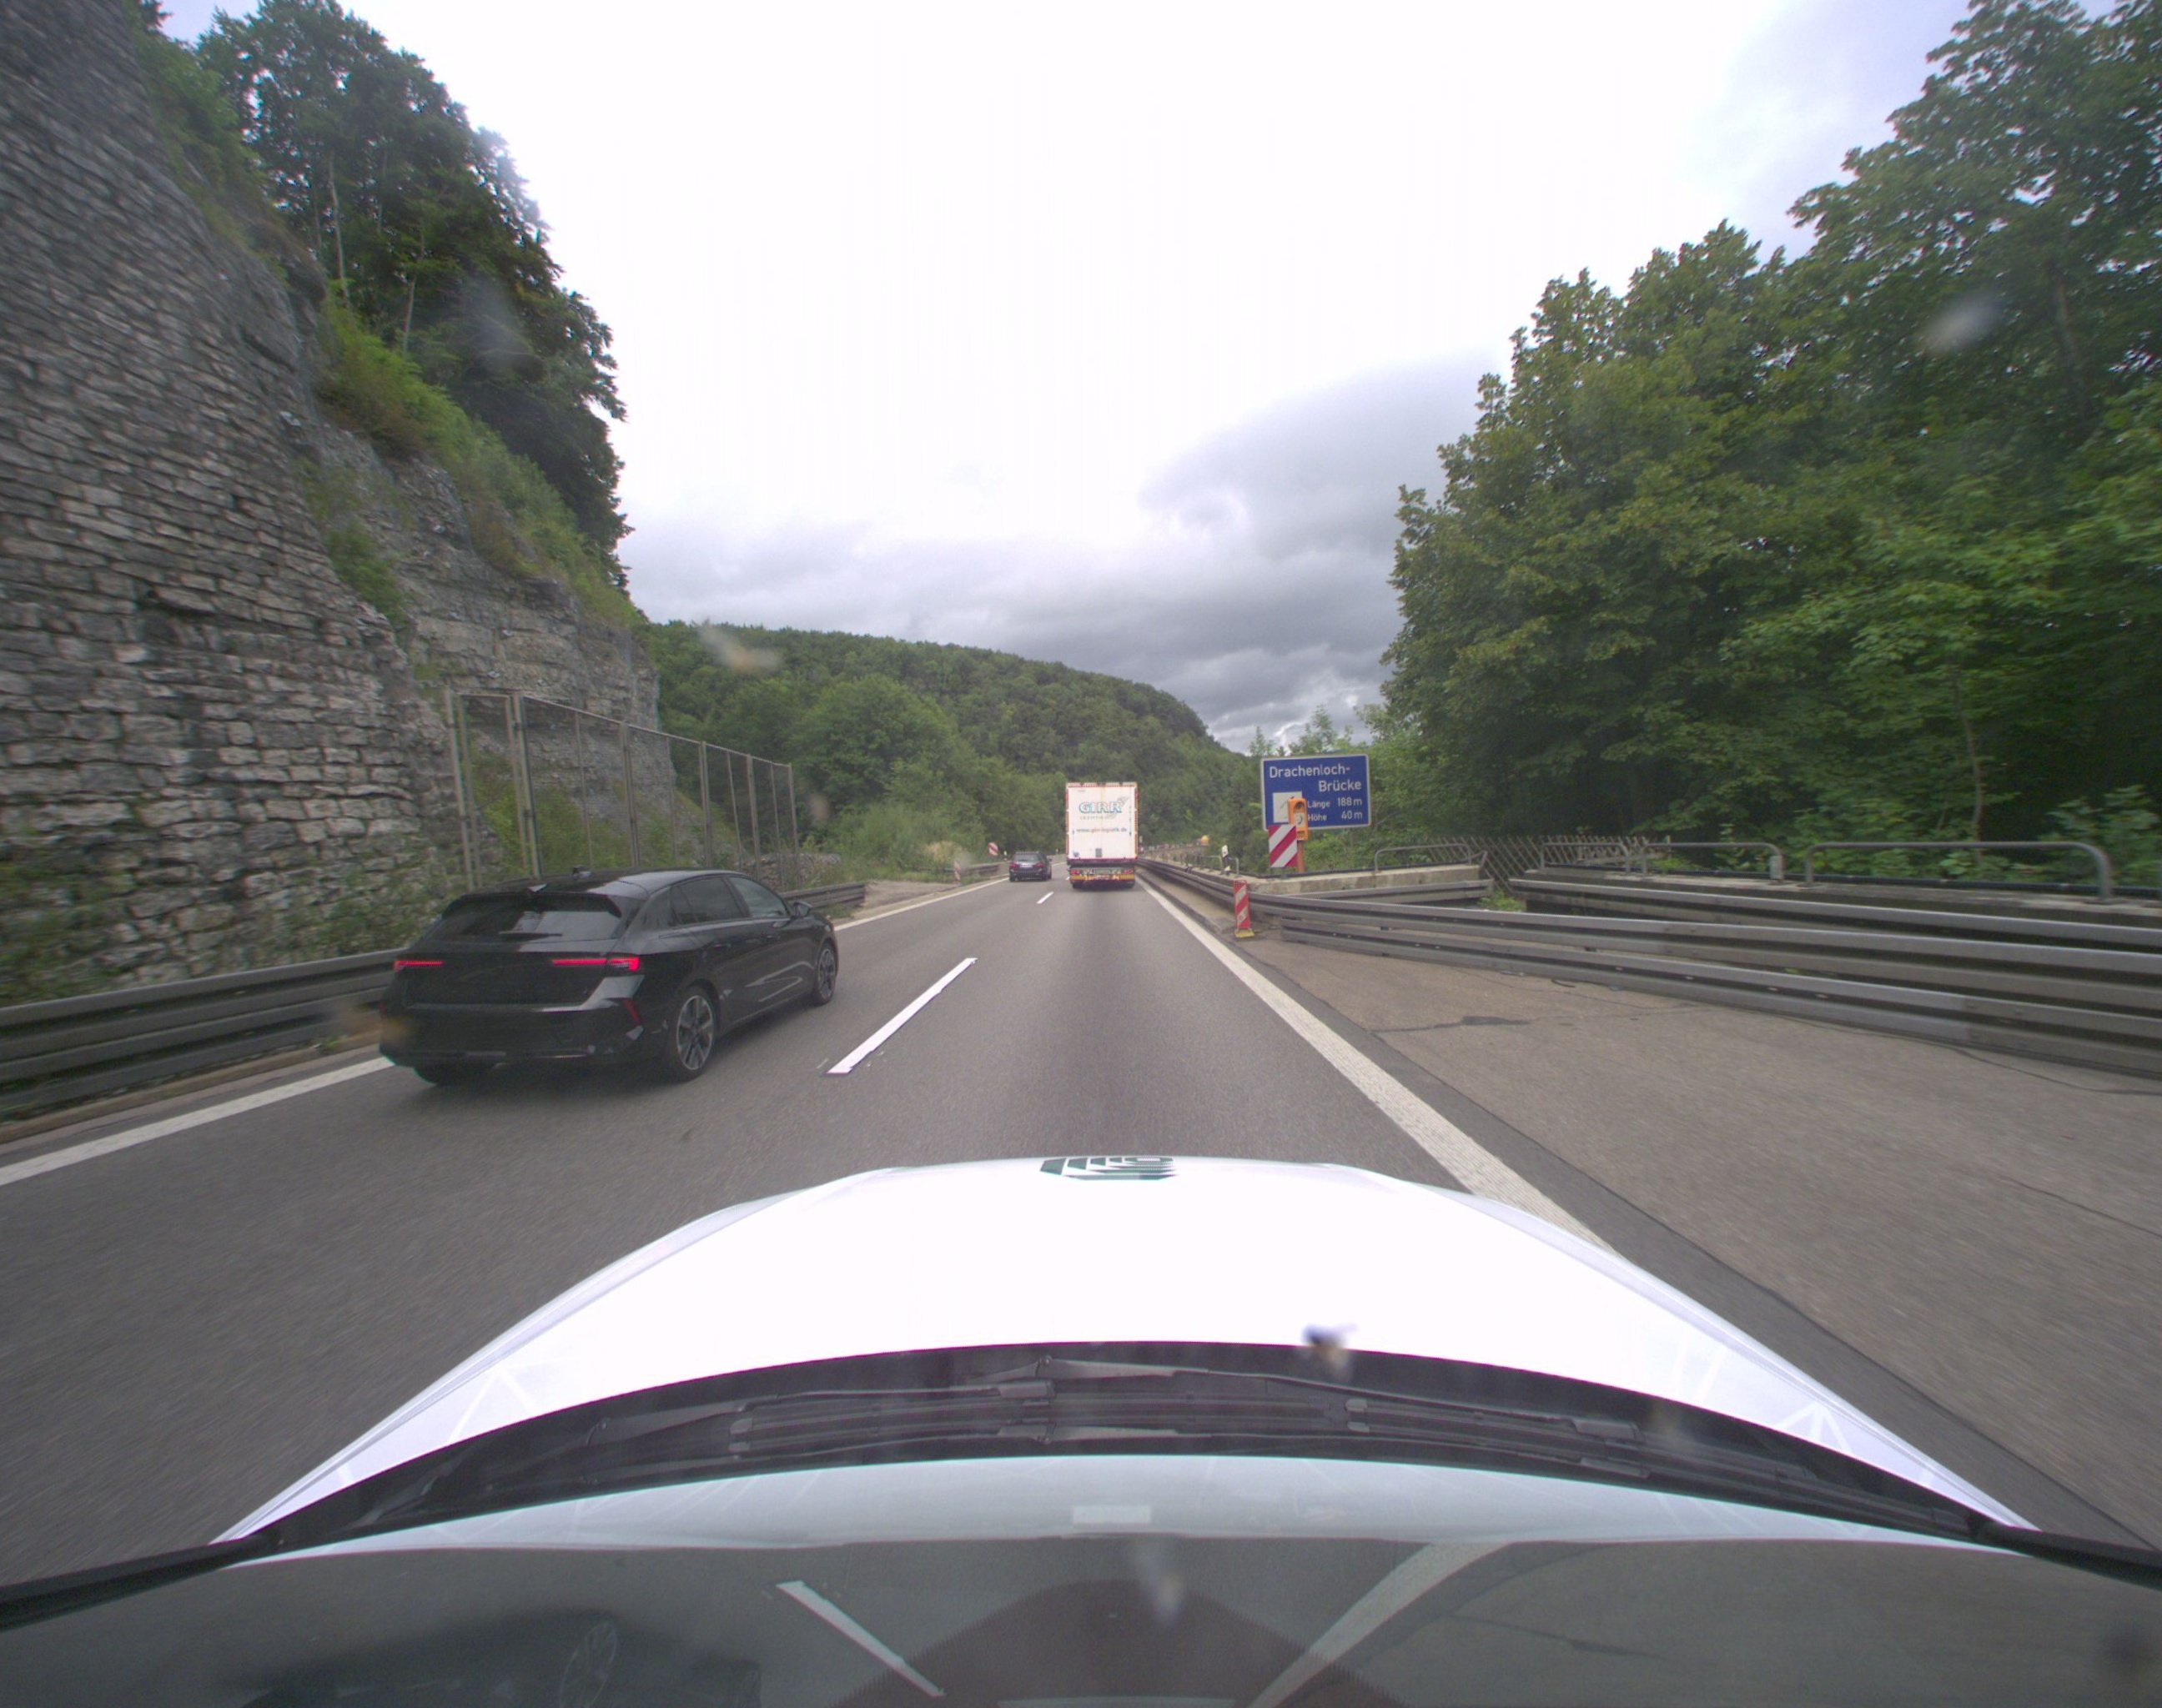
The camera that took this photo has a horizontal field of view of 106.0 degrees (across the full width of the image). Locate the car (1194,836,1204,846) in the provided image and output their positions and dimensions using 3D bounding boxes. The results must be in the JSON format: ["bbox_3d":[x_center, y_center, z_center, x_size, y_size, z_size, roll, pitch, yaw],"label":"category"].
[{"bbox_3d":[37.318,-3.986,258.118,2.347,2.966,6.877,-2,-1,14],"label":"car"}]

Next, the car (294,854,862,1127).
[{"bbox_3d":[-3.439,0.769,6.849,1.766,1.461,4.584,-1,0,2],"label":"car"}]

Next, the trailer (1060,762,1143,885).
[{"bbox_3d":[0.965,-1.075,35.031,2.802,4.302,12.251,-2,0,2],"label":"trailer"}]

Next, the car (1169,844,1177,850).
[{"bbox_3d":[26.985,-2.068,239.184,1.980,1.684,4.013,-1,-1,11],"label":"car"}]

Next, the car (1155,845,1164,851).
[{"bbox_3d":[20.556,-1.548,213.147,1.980,1.684,4.013,-1,-1,11],"label":"car"}]

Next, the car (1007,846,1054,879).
[{"bbox_3d":[-2.490,0.394,40.853,1.876,1.510,4.421,-2,0,2],"label":"car"}]

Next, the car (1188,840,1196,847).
[{"bbox_3d":[32.488,-3.074,237.530,1.980,2.079,4.013,-1,-1,11],"label":"car"}]
